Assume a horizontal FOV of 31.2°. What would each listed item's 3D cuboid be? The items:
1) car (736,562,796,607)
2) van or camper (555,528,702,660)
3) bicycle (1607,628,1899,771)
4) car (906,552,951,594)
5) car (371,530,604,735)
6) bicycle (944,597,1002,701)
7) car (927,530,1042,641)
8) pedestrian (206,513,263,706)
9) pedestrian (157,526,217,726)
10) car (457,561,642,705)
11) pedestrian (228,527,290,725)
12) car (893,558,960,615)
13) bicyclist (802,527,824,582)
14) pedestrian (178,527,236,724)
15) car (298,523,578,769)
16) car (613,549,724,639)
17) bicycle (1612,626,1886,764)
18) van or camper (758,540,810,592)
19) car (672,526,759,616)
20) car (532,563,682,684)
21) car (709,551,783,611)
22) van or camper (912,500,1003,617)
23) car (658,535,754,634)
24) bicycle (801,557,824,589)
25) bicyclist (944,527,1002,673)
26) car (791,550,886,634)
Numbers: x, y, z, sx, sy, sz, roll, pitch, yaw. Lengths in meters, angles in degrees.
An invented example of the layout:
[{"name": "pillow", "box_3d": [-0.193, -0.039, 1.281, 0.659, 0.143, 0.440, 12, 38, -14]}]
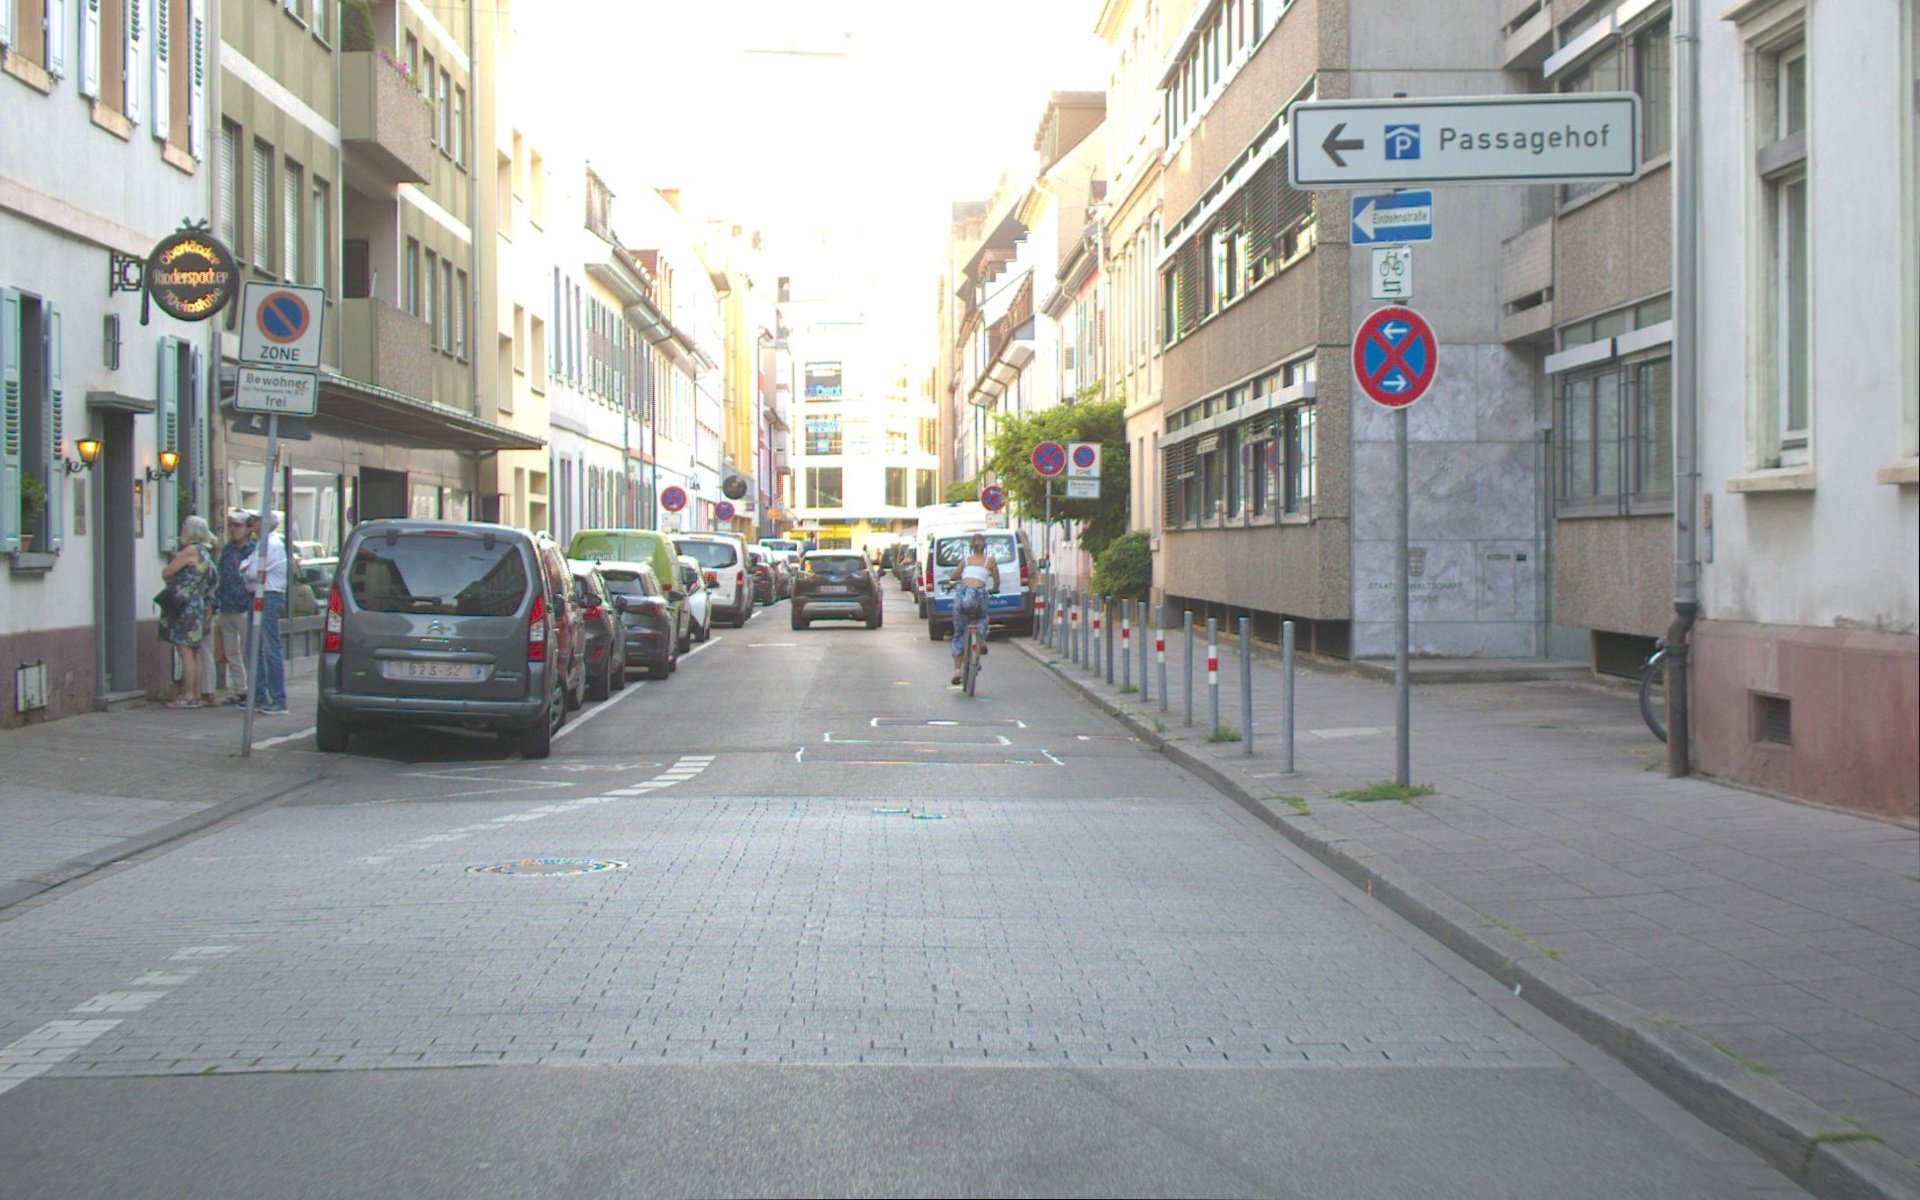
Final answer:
[{"name": "car", "box_3d": [-6.457, -0.524, 114.679, 1.918, 1.429, 4.294, 1, 1, -3]}, {"name": "van or camper", "box_3d": [-4.839, -0.108, 50.581, 1.772, 1.842, 4.178, 0, 1, 0]}, {"name": "bicycle", "box_3d": [5.226, 0.654, 22.684, 1.795, 0.920, 0.538, 0, 0, -9]}, {"name": "car", "box_3d": [-1.227, -1.048, 131.644, 1.653, 1.555, 3.606, 1, 1, -1]}, {"name": "car", "box_3d": [-4.429, 0.265, 32.781, 1.772, 1.805, 4.511, 1, 1, -3]}, {"name": "bicycle", "box_3d": [0.134, 0.518, 37.386, 0.613, 1.078, 1.809, 0, 0, 0]}, {"name": "car", "box_3d": [0.393, -0.282, 61.495, 1.936, 1.891, 5.277, 0, 1, -1]}, {"name": "pedestrian", "box_3d": [-6.601, 0.081, 31.295, 0.406, 1.744, 0.470, 0, 0, 0]}, {"name": "pedestrian", "box_3d": [-6.798, 0.225, 30.248, 0.406, 1.744, 0.470, 0, 0, 0]}, {"name": "car", "box_3d": [-4.436, 0.322, 37.566, 1.624, 1.480, 3.878, 0, 0, -1]}, {"name": "pedestrian", "box_3d": [-6.219, 0.226, 30.503, 0.449, 1.744, 0.470, 0, 0, 0]}, {"name": "car", "box_3d": [-0.952, -0.405, 101.279, 1.819, 1.525, 5.071, -4, 0, 0]}, {"name": "bicyclist", "box_3d": [-4.357, -1.346, 102.187, 0.623, 1.634, 1.081, 0, 0, -1]}, {"name": "pedestrian", "box_3d": [-6.731, 0.221, 30.736, 0.406, 1.744, 0.470, 0, 0, 0]}, {"name": "car", "box_3d": [-4.107, 0.314, 27.653, 1.876, 1.805, 4.451, 1, 1, -4]}, {"name": "car", "box_3d": [-5.042, -0.118, 59.832, 1.662, 1.444, 3.521, 3, 0, -2]}, {"name": "bicycle", "box_3d": [5.389, 0.647, 23.502, 1.739, 0.920, 0.538, 0, 0, -8]}, {"name": "van or camper", "box_3d": [-6.986, -1.366, 136.866, 1.844, 2.006, 4.678, 1, 1, -1]}, {"name": "car", "box_3d": [-5.626, -0.682, 79.469, 1.862, 2.007, 4.814, 0, 1, -3]}, {"name": "car", "box_3d": [-4.324, 0.260, 42.539, 1.624, 1.411, 3.981, 1, 0, -3]}, {"name": "car", "box_3d": [-6.012, -0.548, 96.936, 1.803, 1.671, 4.490, 0, 1, 0]}, {"name": "van or camper", "box_3d": [-0.085, -0.990, 81.438, 2.050, 2.628, 7.063, 0, 1, 0]}, {"name": "car", "box_3d": [-5.339, -0.359, 72.680, 1.862, 2.007, 5.107, 0, 1, -3]}, {"name": "bicycle", "box_3d": [-4.377, -0.808, 102.225, 0.634, 0.919, 1.779, 0, 0, -1]}, {"name": "bicyclist", "box_3d": [0.140, -0.006, 37.460, 0.621, 1.569, 0.683, 0, 0, 0]}, {"name": "car", "box_3d": [-2.445, -0.187, 69.404, 1.819, 1.612, 4.000, 1, 1, -2]}]
